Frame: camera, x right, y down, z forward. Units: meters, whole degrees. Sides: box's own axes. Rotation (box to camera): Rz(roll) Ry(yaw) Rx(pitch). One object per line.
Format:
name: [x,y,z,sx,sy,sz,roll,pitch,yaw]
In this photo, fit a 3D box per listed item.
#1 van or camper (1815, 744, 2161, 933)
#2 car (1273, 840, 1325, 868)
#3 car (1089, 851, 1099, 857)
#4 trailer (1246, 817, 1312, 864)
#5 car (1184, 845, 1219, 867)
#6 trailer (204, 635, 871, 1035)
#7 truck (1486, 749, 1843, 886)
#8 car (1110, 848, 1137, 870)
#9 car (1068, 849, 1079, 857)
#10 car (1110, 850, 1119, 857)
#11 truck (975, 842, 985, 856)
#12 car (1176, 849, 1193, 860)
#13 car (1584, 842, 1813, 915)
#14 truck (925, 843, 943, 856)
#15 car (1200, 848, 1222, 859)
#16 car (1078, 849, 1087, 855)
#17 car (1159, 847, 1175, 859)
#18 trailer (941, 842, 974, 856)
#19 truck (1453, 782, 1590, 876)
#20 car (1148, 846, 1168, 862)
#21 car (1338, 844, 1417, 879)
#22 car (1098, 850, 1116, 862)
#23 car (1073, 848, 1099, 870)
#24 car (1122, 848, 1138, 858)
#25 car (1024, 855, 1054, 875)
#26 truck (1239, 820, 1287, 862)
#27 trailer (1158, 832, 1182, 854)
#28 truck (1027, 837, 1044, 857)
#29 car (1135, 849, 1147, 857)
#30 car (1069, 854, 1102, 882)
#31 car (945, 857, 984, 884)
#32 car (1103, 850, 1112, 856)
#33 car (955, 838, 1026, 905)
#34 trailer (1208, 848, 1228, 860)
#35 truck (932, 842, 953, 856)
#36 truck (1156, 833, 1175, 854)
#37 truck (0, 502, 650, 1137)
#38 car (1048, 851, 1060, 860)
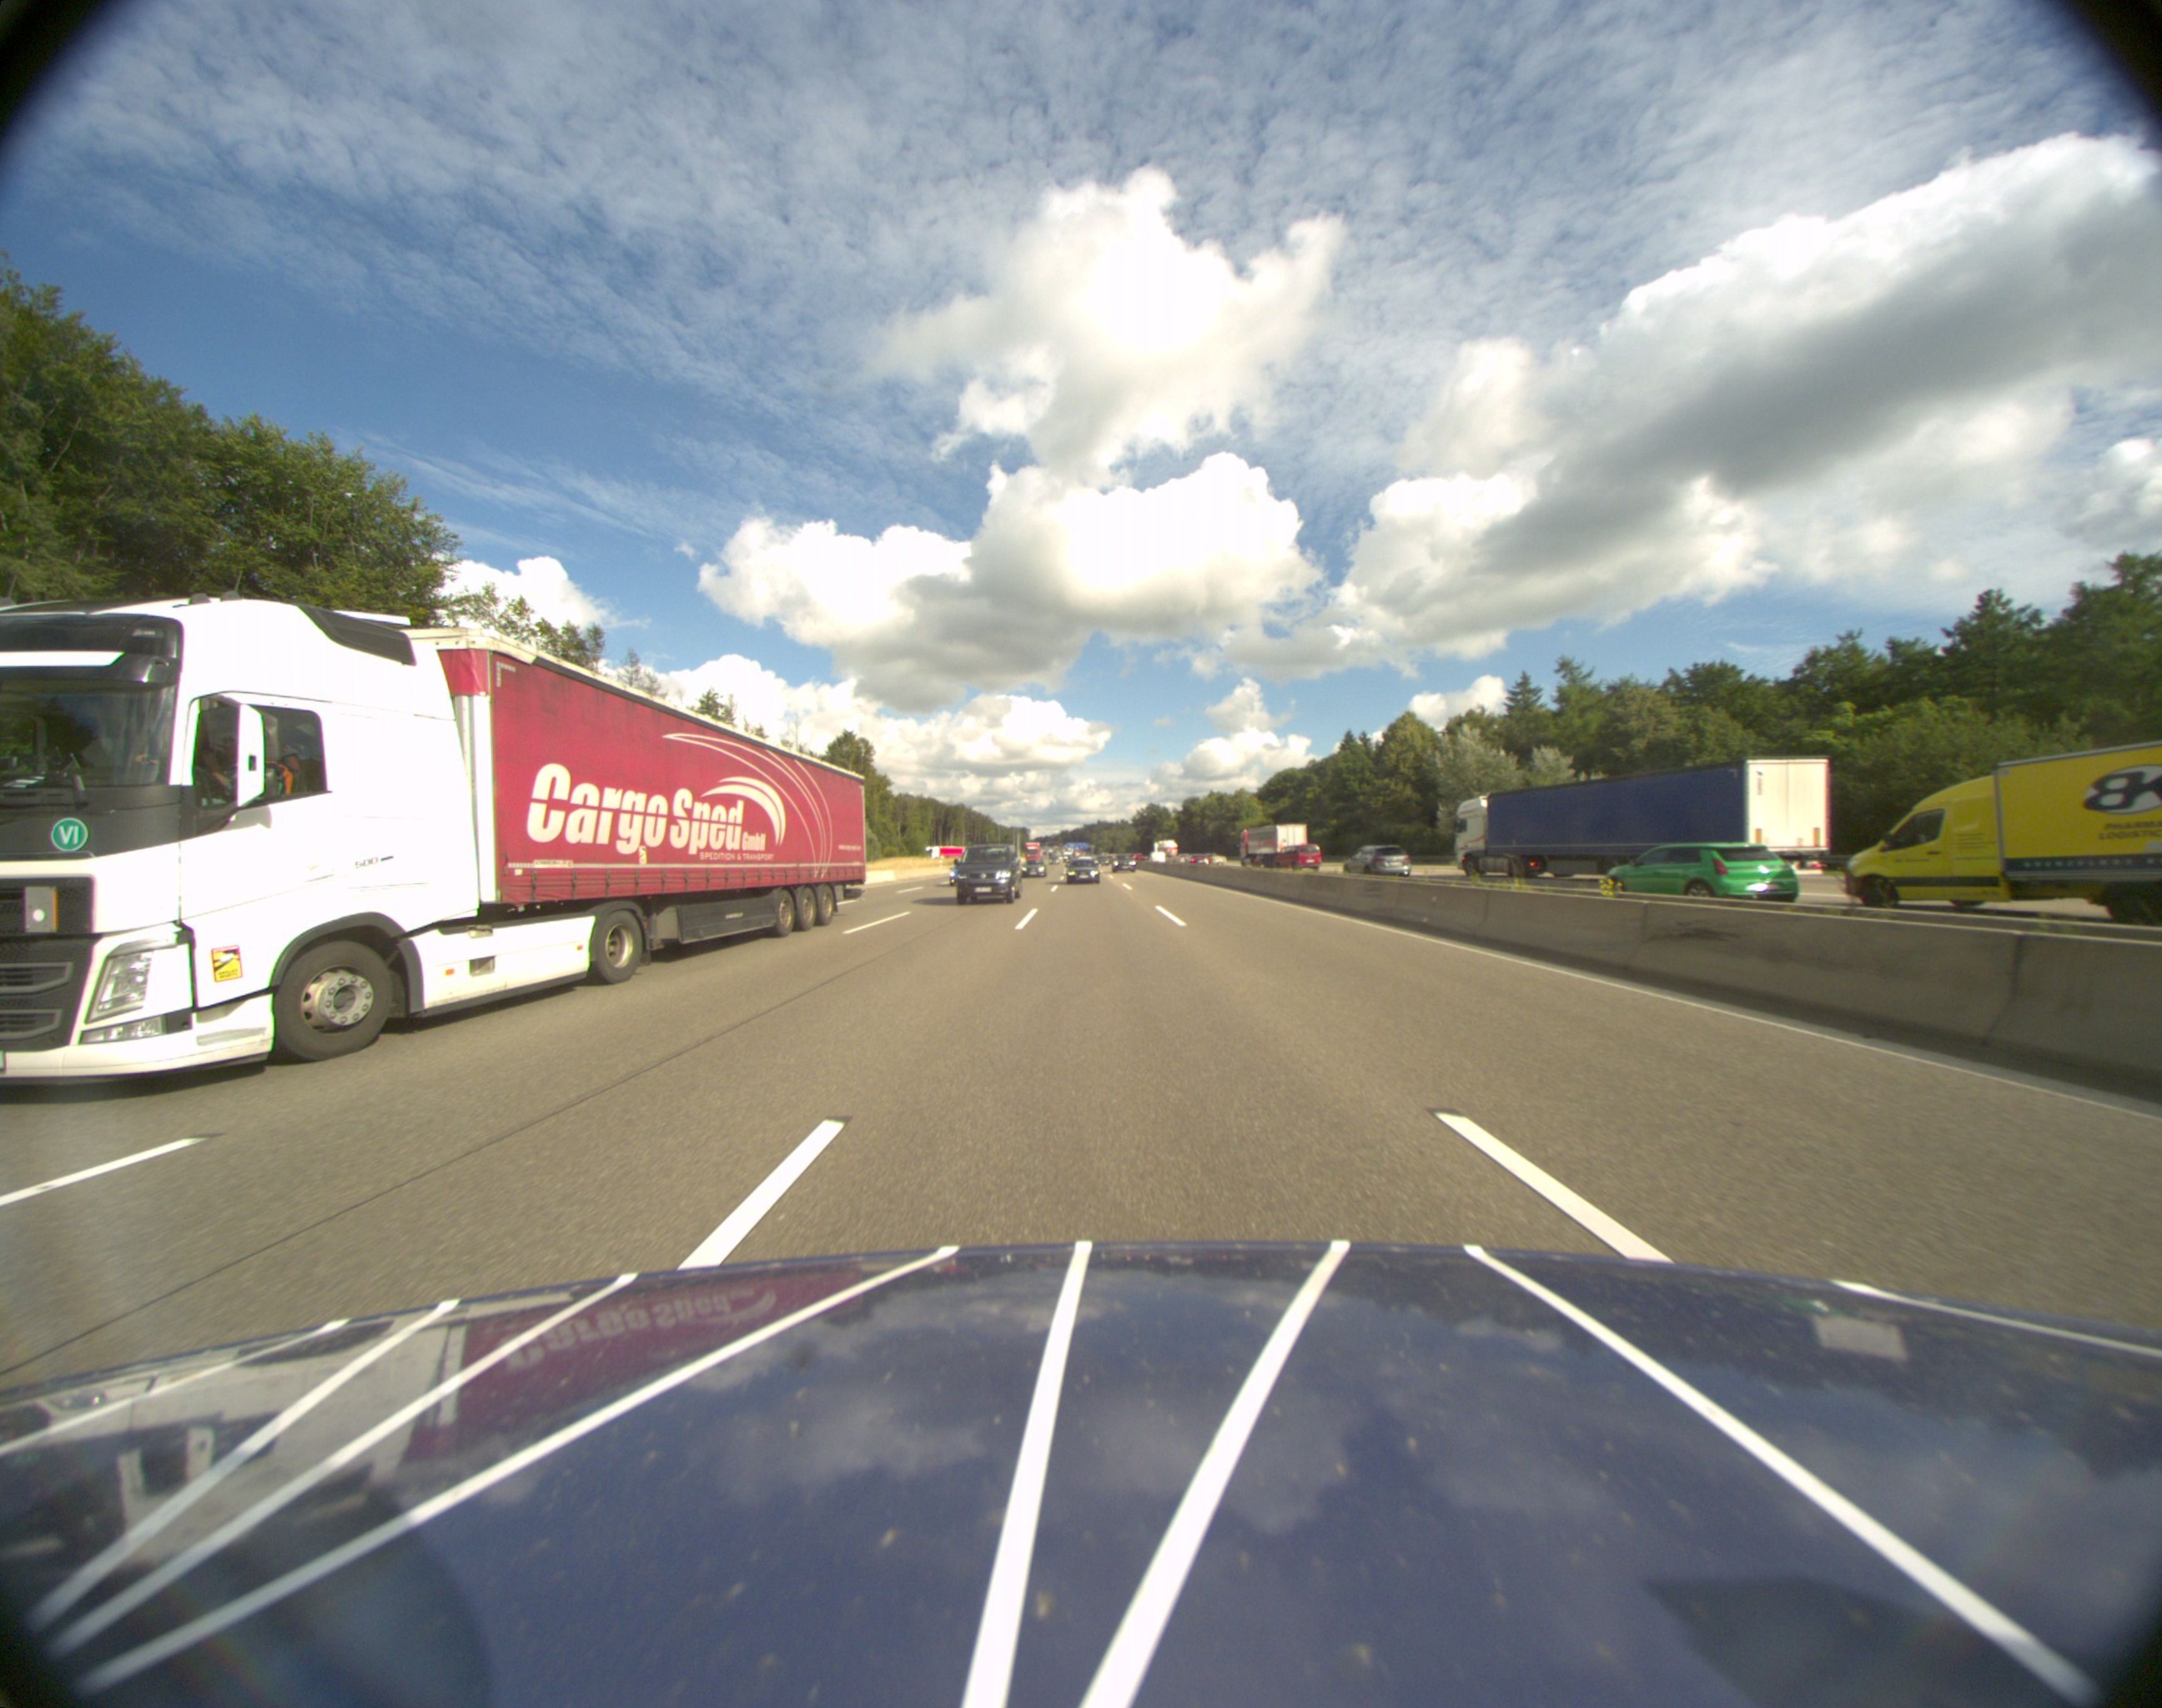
van or camper: [17.707,-0.244,13.929,2.379,2.875,6.506,0,0,2]
car: [15.642,0.011,54.853,1.853,1.929,5.030,0,0,-6]
car: [3.271,0.002,189.538,2.153,1.540,4.676,-2,0,-2]
trailer: [17.723,-1.145,68.832,2.974,3.835,11.280,-2,0,0]
car: [10.817,0.133,68.577,2.177,1.867,5.360,-2,0,-1]
trailer: [-7.458,-0.213,14.645,2.781,4.021,13.712,-2,0,0]
truck: [21.272,-1.129,29.773,2.827,4.070,13.841,-2,0,-2]
car: [3.718,0.423,67.161,2.153,1.800,5.098,-2,1,1]
car: [-1.477,-0.127,156.026,2.153,1.540,4.676,-1,0,-2]
car: [7.781,-0.105,175.735,1.860,1.551,3.992,-2,0,-2]
truck: [-31.822,-1.537,239.395,2.881,4.481,7.172,0,0,-8]
car: [13.365,0.068,98.592,1.607,1.395,4.000,-2,0,0]
car: [13.836,0.484,17.434,1.788,1.462,4.331,0,0,1]
truck: [-48.780,-1.508,252.498,2.888,4.482,5.133,0,1,44]
car: [17.035,-0.074,99.798,1.832,1.406,4.673,-2,0,-2]
car: [0.377,-0.455,200.690,2.153,1.540,4.676,-1,0,-2]
car: [13.545,-0.208,119.658,1.854,1.867,4.614,-2,0,-1]
trailer: [-41.357,-1.608,254.593,2.837,4.348,11.406,-1,1,45]
truck: [20.920,-1.122,36.531,2.827,4.070,6.059,-2,0,-2]
car: [9.507,0.002,94.060,1.854,1.867,4.614,-2,0,-1]
car: [14.082,0.334,36.432,1.848,1.586,4.913,0,0,-1]
car: [3.684,0.254,109.135,2.153,1.540,4.676,-2,0,-2]
car: [0.465,0.446,67.692,2.153,1.800,5.098,-2,1,0]
car: [8.496,-0.136,131.309,2.160,1.690,5.349,-2,0,-2]
car: [-3.214,0.825,59.250,2.153,1.426,5.098,-2,0,-2]
truck: [17.733,-1.222,74.456,2.974,3.835,6.764,-2,0,0]
trailer: [16.668,-1.988,142.811,2.795,3.922,12.250,-2,0,-1]
truck: [-8.658,-1.352,143.968,3.018,3.662,7.559,-1,0,-3]
car: [11.982,-0.187,152.384,1.860,1.660,5.209,-2,0,-2]
car: [0.222,0.748,43.088,1.733,1.500,4.727,-2,0,0]
car: [-6.826,0.943,44.850,1.654,1.433,4.000,-2,0,0]
car: [6.812,-0.341,195.554,1.860,1.551,3.992,-2,0,-2]
car: [-3.104,0.565,27.011,1.854,2.097,4.932,-2,0,0]
trailer: [17.188,-0.028,95.385,1.538,1.394,4.179,-2,0,-2]
truck: [-45.564,-1.548,250.306,2.872,4.481,6.109,-1,1,44]
truck: [16.566,-2.068,148.881,2.795,3.922,6.444,-2,0,-1]
truck: [-7.502,-0.194,7.728,2.781,4.022,5.773,-2,0,0]
car: [-5.115,0.227,142.273,2.153,1.540,4.676,-1,0,-2]
